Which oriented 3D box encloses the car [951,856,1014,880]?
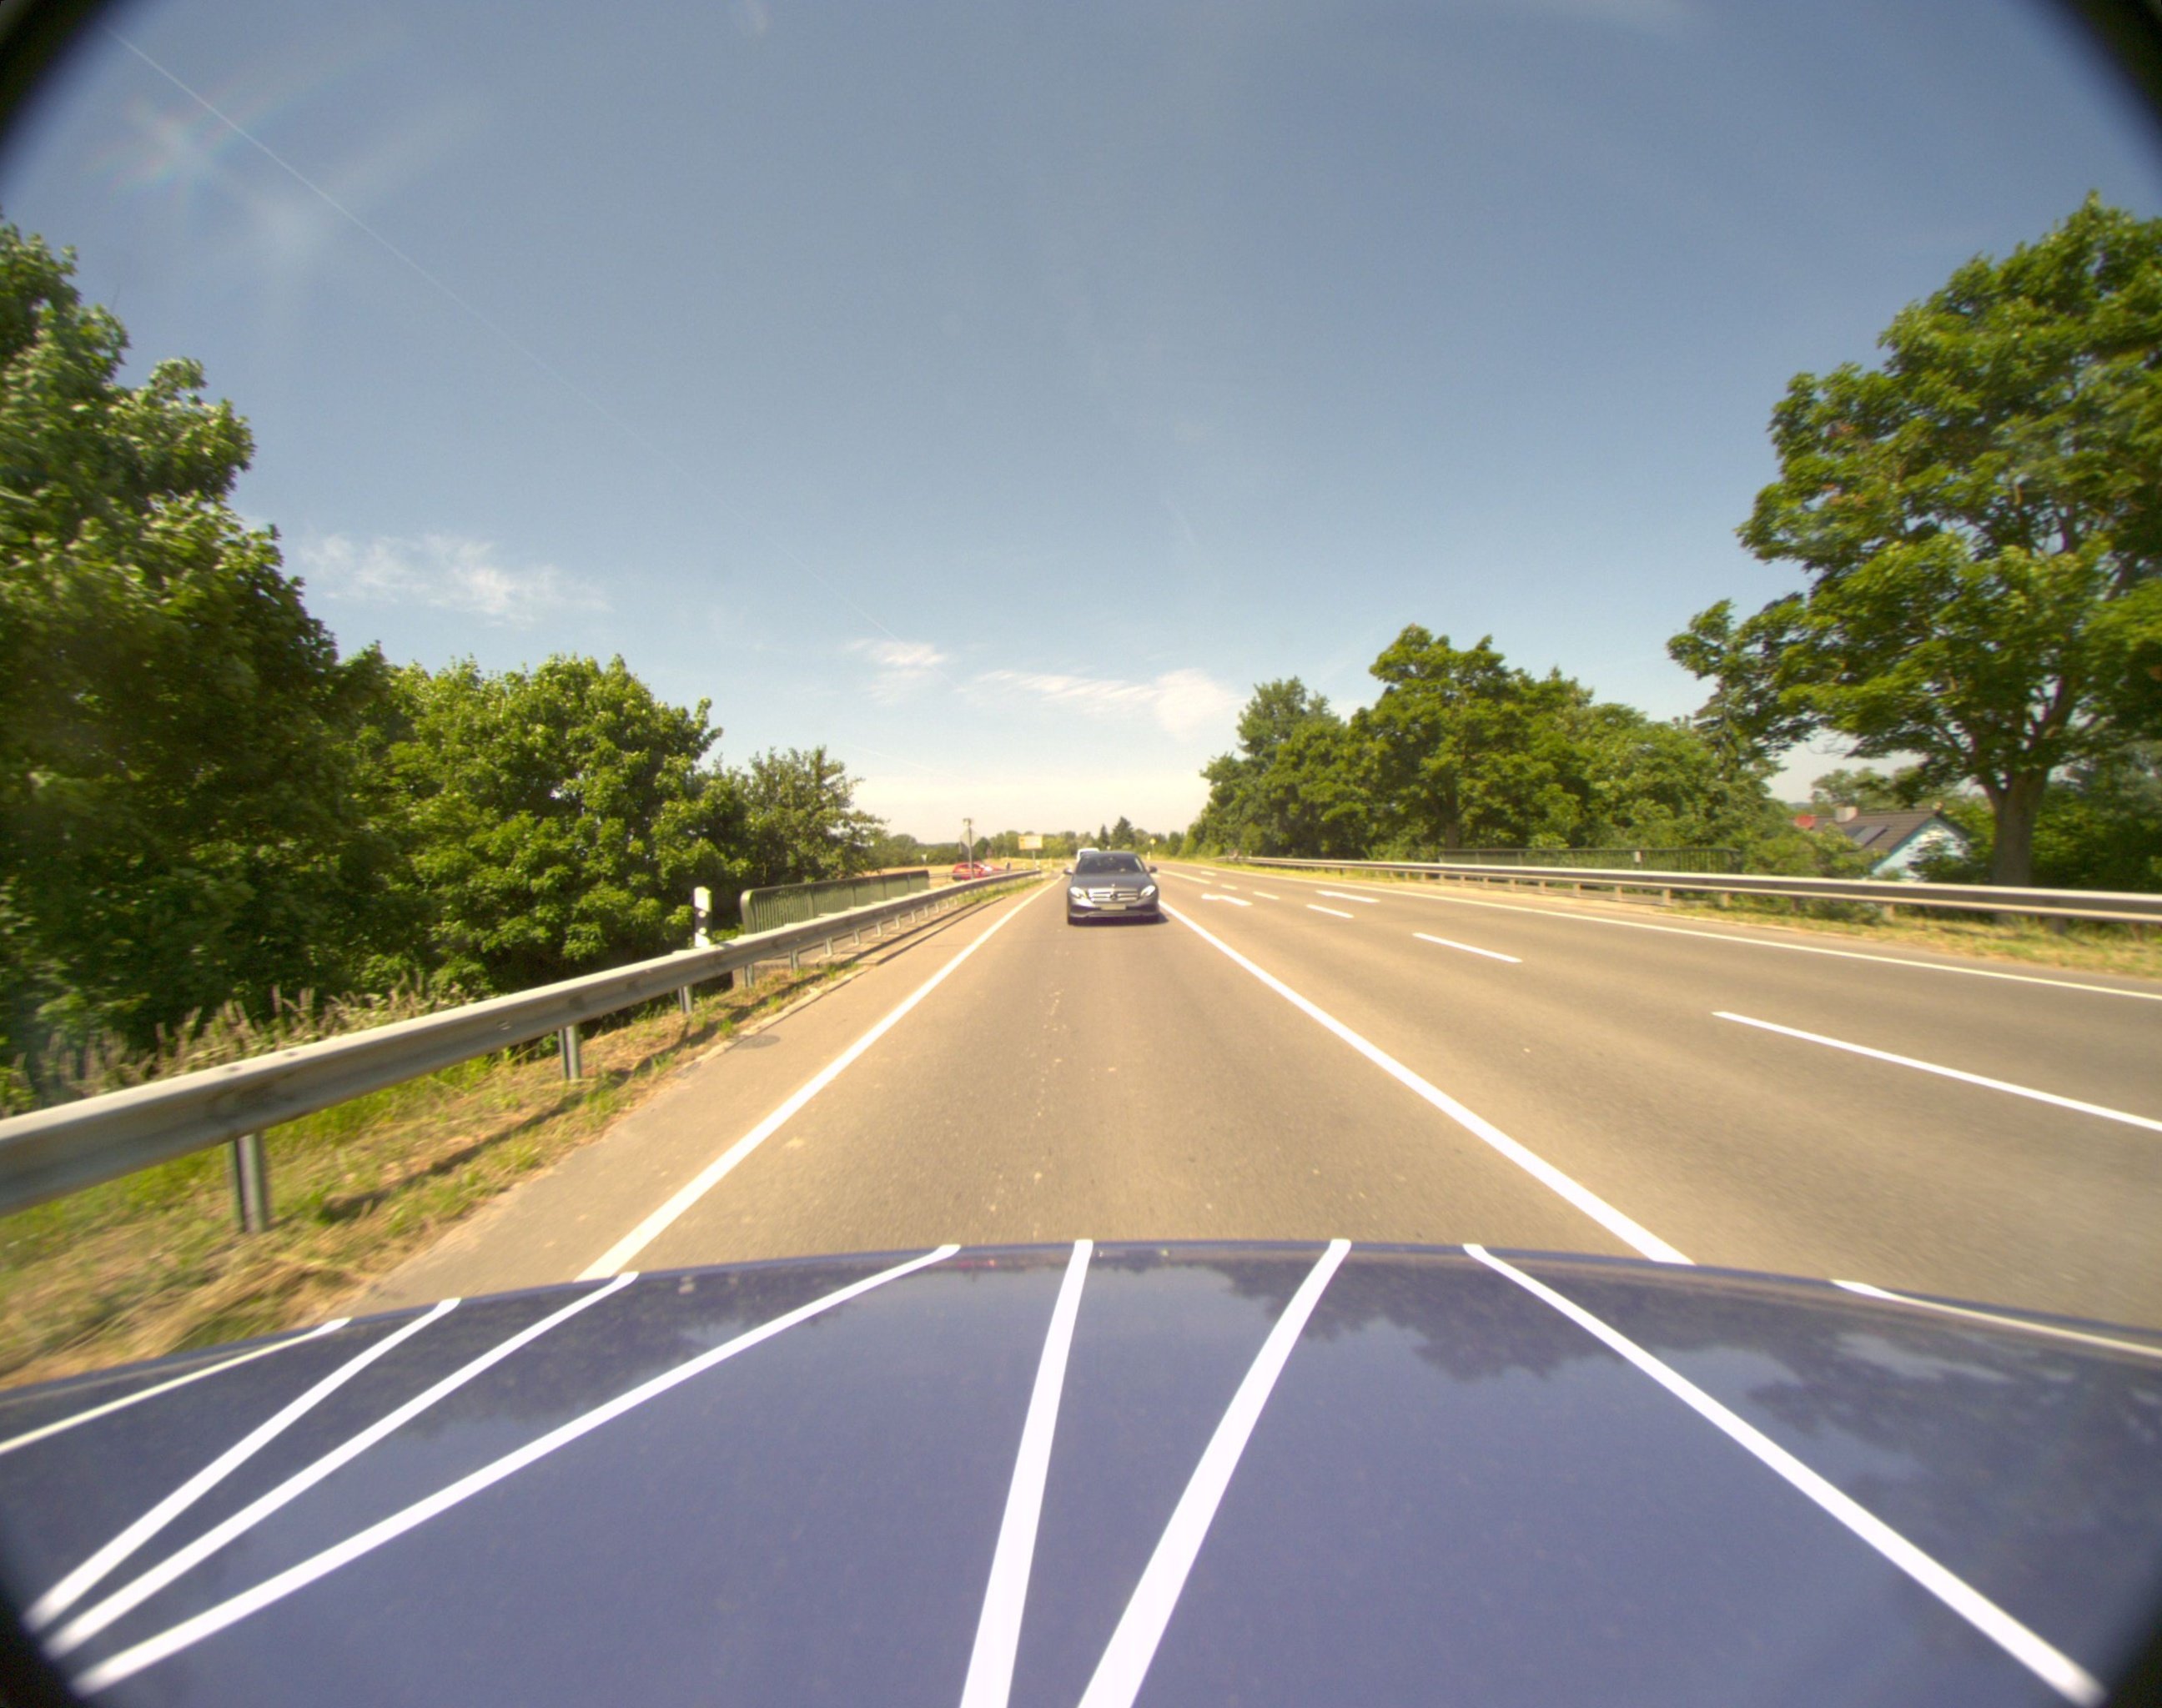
[{"bbox_3d":[-7.317,1.024,56.389,4.159,1.410,1.781,-4,1,14],"label":"car"}]

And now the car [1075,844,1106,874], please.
[{"bbox_3d":[0.724,0.330,59.341,2.179,2.002,5.024,-6,1,0],"label":"car"}]

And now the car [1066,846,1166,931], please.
[{"bbox_3d":[0.794,0.654,16.845,1.831,1.540,4.499,-3,0,3],"label":"car"}]
